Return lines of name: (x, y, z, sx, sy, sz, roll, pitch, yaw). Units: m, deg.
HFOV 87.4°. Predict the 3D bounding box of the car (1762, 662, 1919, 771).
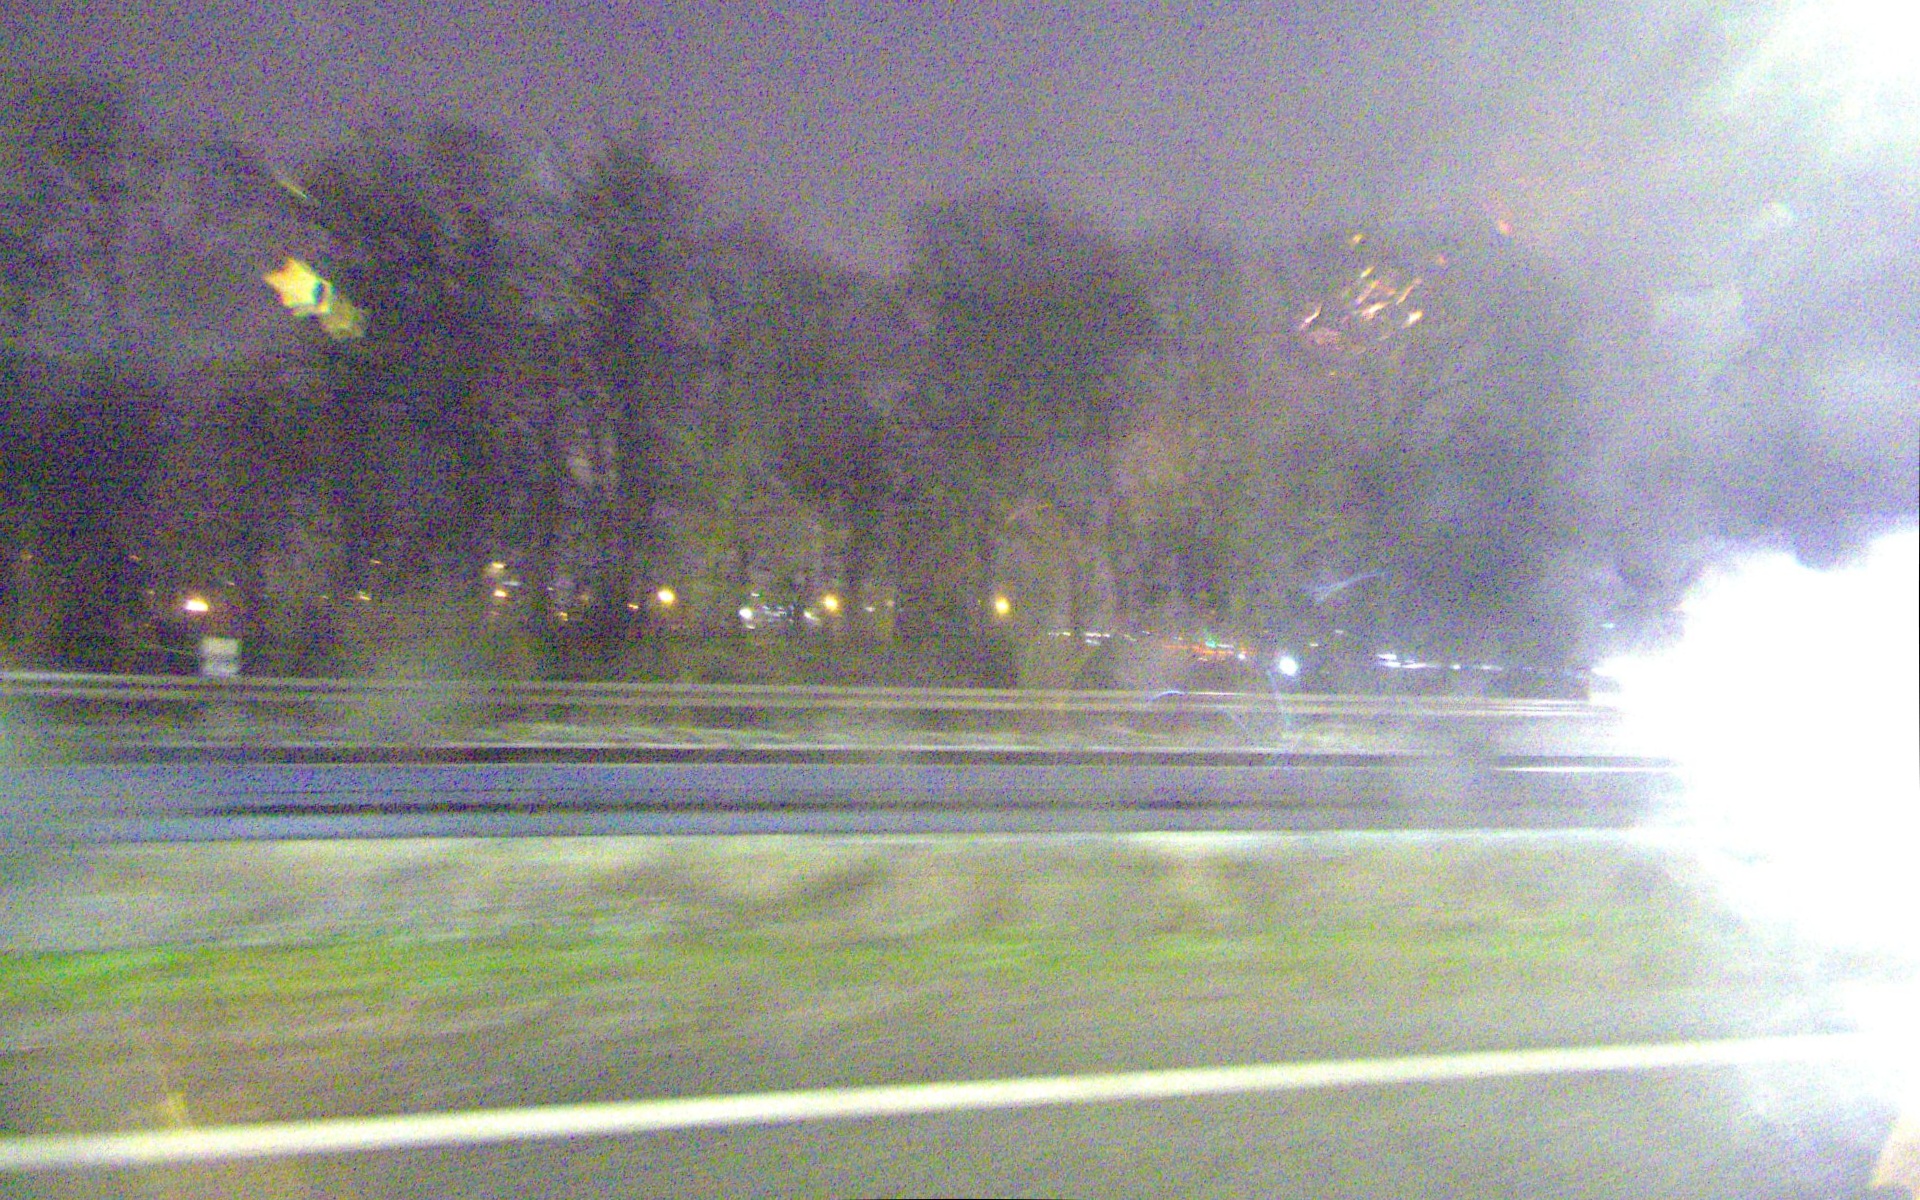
car: (13.817, 1.616, 14.142, 4.089, 1.399, 1.614, 2, -4, -10)
